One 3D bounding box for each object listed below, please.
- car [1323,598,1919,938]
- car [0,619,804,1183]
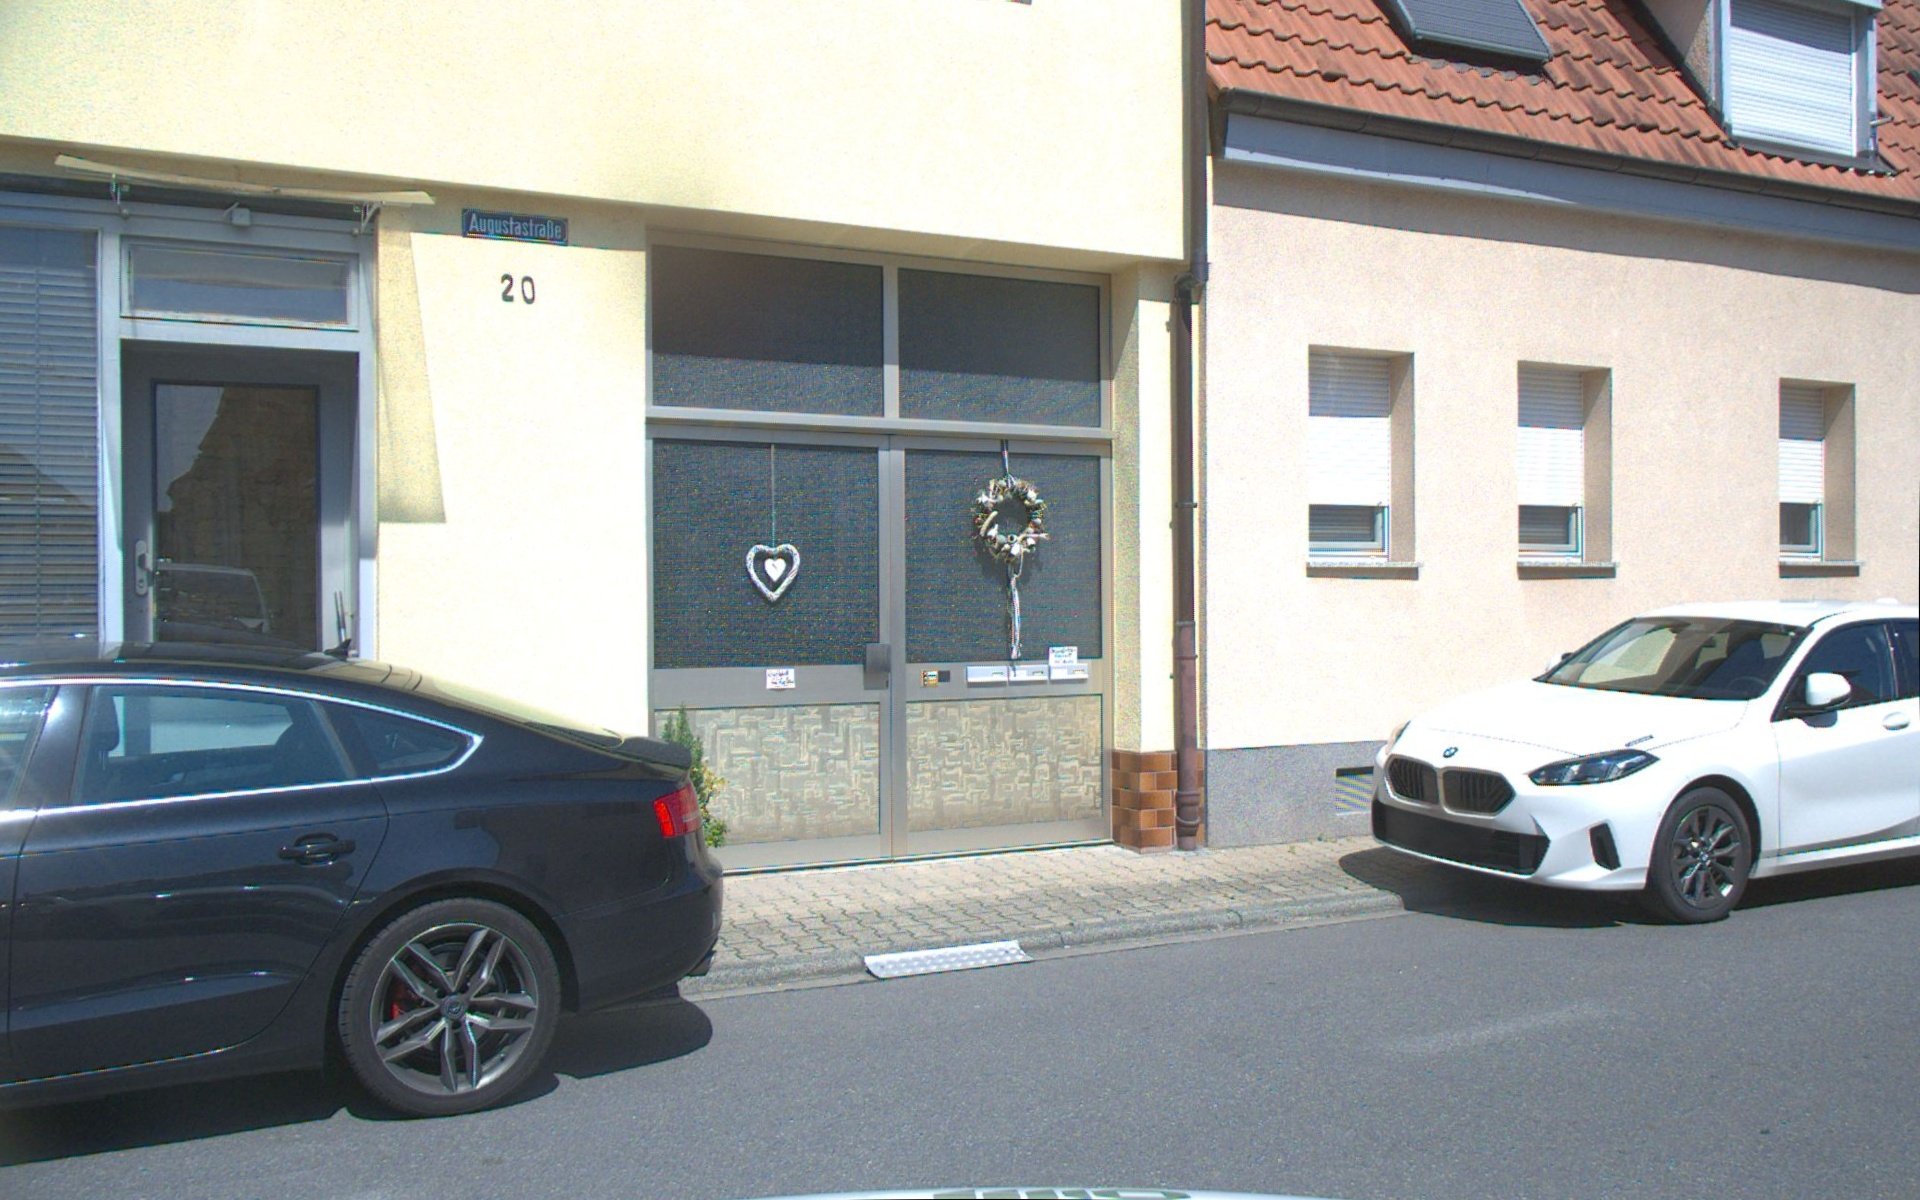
[{"bbox_3d":[4.191,0.745,8.977,4.149,1.479,1.774,0,-1,-26],"label":"car"},{"bbox_3d":[-2.956,0.835,5.078,4.562,1.419,1.911,0,-3,-28],"label":"car"}]
